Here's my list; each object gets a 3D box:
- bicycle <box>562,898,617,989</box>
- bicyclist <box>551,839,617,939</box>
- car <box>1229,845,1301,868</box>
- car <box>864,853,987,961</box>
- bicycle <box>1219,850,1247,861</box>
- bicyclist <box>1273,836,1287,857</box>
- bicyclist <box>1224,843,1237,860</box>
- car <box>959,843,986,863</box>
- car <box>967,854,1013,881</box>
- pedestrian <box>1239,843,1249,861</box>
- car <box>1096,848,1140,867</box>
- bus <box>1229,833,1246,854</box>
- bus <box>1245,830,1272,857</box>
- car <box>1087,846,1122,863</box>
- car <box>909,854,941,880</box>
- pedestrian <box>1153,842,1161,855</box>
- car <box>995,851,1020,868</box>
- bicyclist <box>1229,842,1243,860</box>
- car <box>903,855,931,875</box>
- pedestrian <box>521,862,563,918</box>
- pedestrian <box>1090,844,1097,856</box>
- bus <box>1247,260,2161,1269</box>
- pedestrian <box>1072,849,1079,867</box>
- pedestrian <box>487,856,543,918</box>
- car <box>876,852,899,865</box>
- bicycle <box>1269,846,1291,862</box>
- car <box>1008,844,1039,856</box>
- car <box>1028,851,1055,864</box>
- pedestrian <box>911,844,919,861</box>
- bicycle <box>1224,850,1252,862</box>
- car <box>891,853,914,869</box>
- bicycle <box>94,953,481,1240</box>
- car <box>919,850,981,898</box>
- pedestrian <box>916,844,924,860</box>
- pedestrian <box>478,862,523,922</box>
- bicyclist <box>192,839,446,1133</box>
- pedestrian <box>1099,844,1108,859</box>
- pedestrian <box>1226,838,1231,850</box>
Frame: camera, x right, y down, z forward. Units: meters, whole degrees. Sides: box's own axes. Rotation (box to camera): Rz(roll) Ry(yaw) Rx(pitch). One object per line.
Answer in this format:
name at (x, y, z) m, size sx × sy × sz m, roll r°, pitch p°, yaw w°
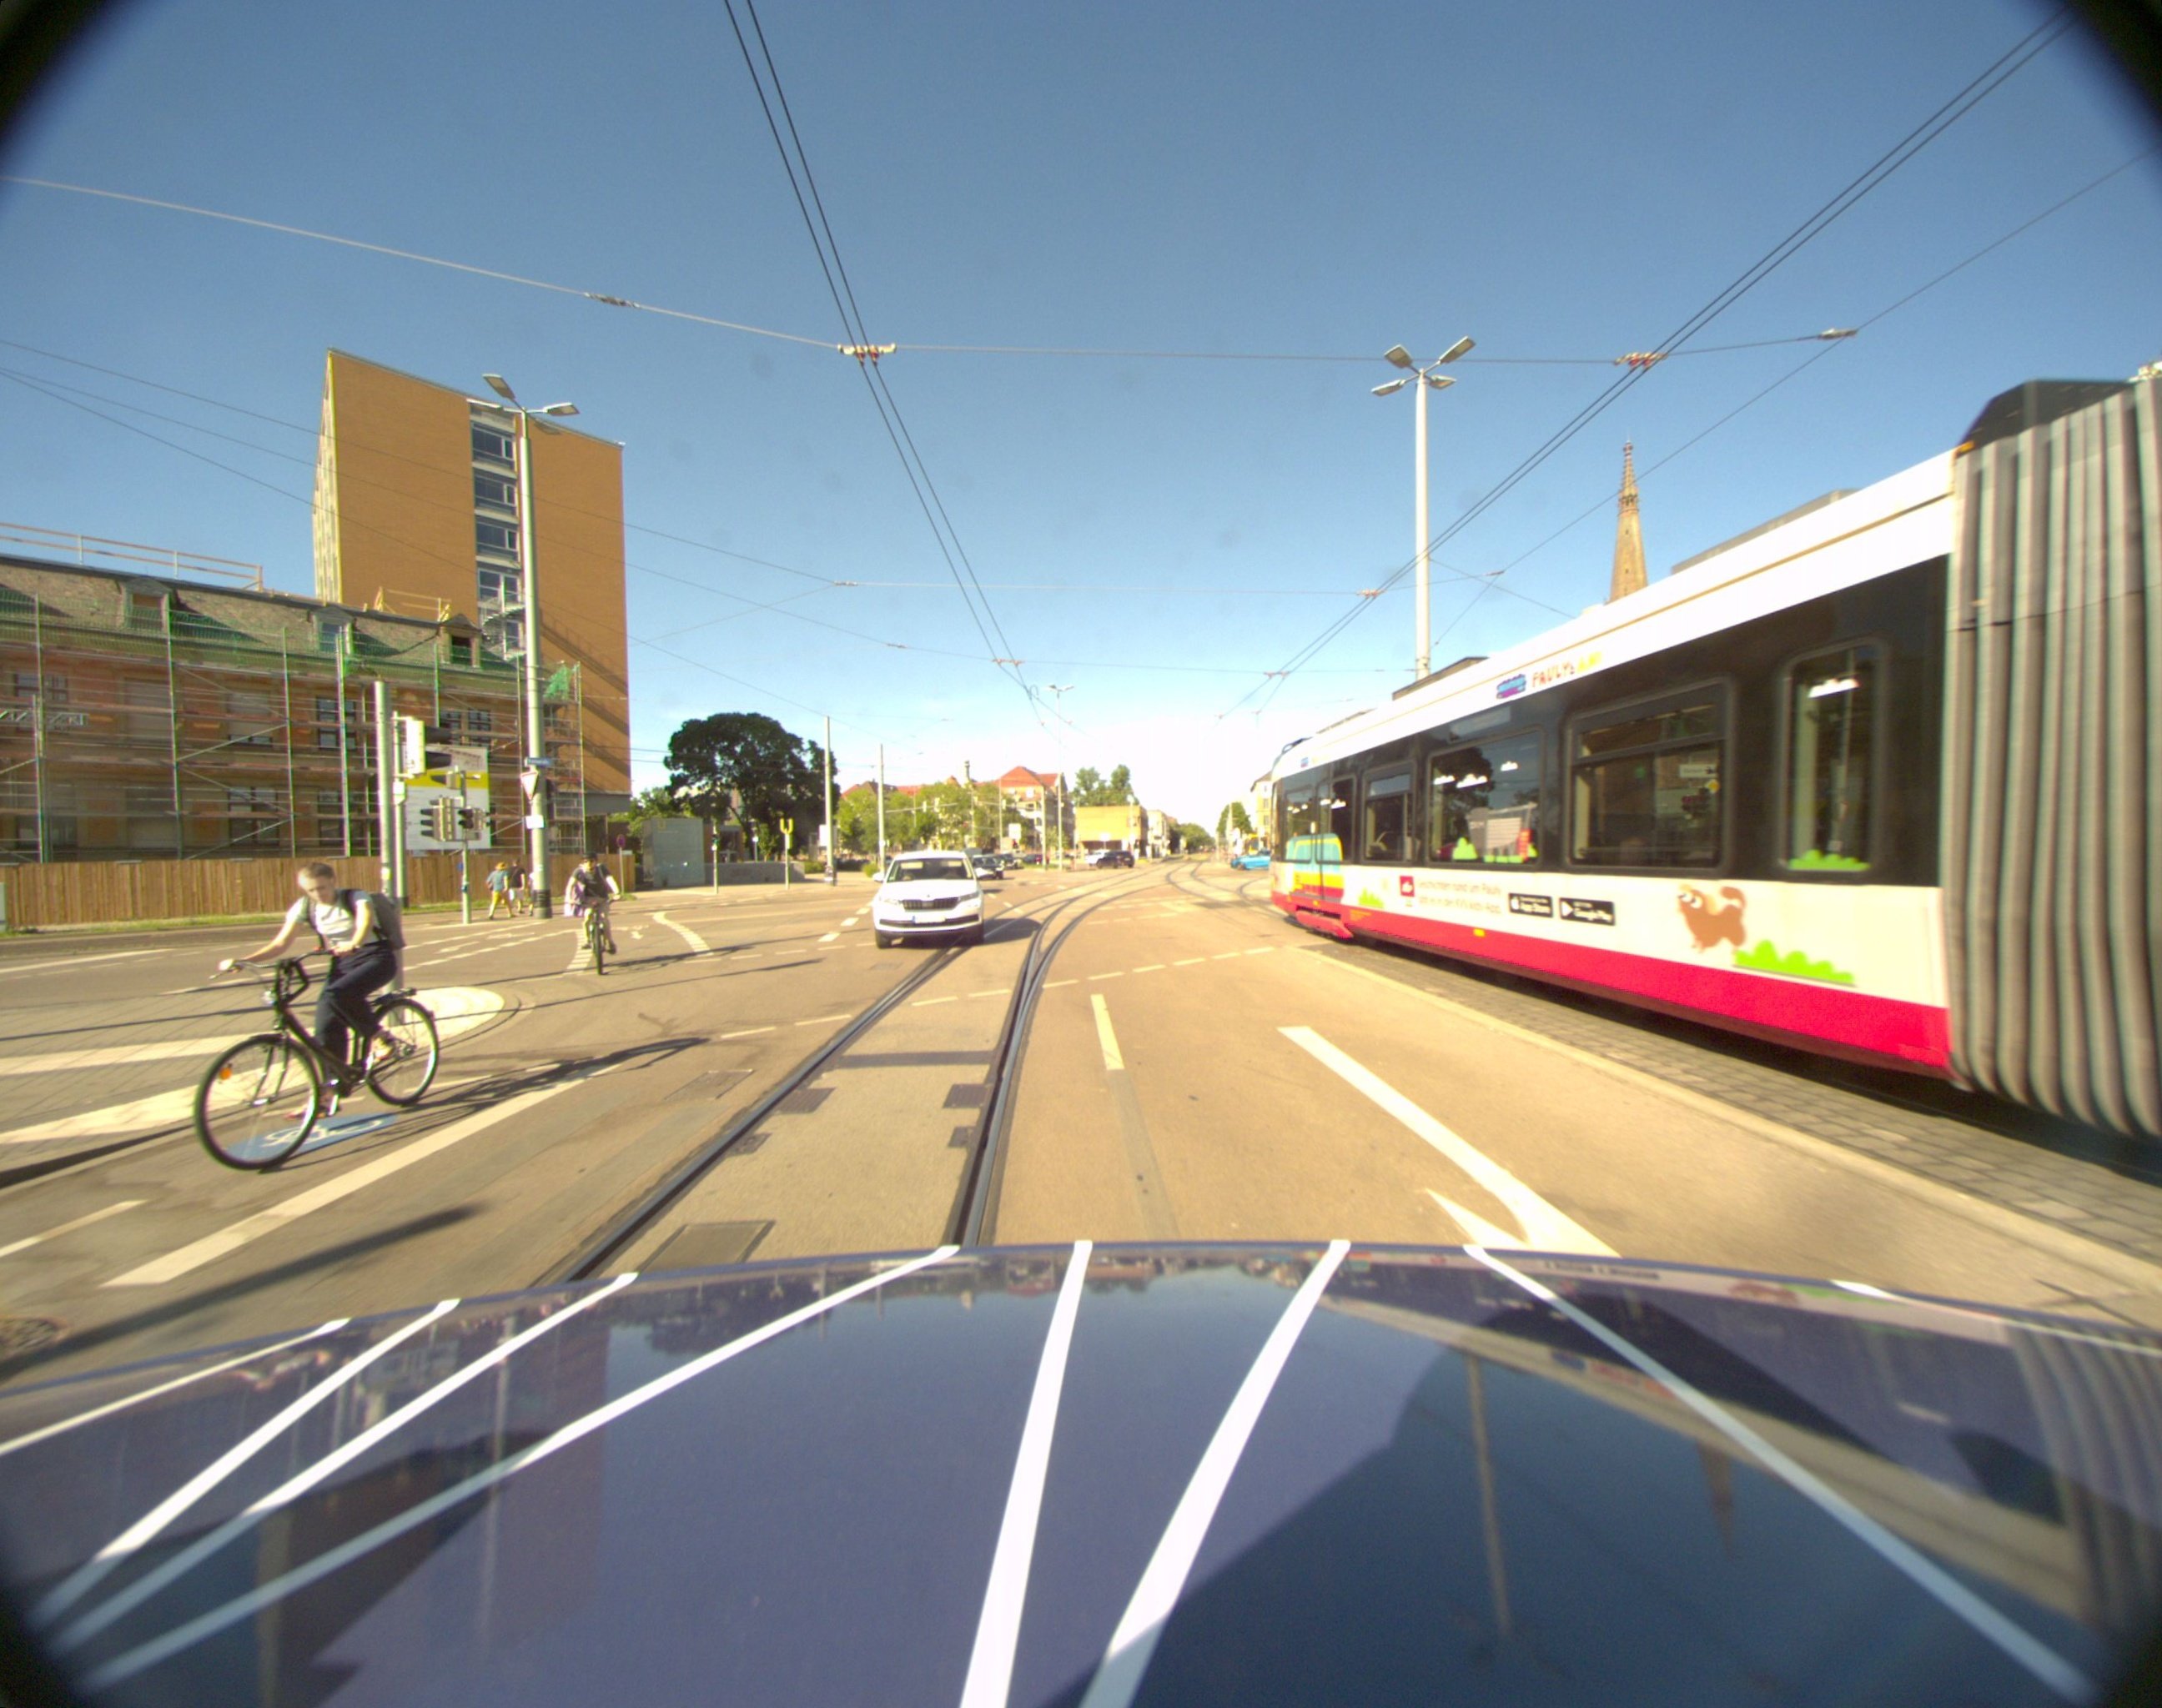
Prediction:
bicycle at (-7.449, 1.308, 11.566) m, size 0.534 × 1.152 × 1.861 m, roll -3°, pitch 2°, yaw -29°
bicyclist at (-7.531, 0.500, 11.562) m, size 0.677 × 1.413 × 1.034 m, roll -4°, pitch 2°, yaw -29°
car at (12.816, 0.165, 53.014) m, size 4.588 × 1.450 × 1.916 m, roll -1°, pitch 1°, yaw 25°
car at (-2.840, 0.841, 14.423) m, size 1.870 × 1.635 × 4.393 m, roll -3°, pitch 1°, yaw -9°
bicycle at (13.948, 0.144, 69.748) m, size 2.478 × 0.984 × 0.615 m, roll -2°, pitch 1°, yaw -18°
bicyclist at (16.181, -0.604, 61.785) m, size 0.796 × 1.666 × 0.758 m, roll -2°, pitch 1°, yaw -37°
bicyclist at (13.688, -0.246, 69.673) m, size 0.957 × 1.520 × 0.576 m, roll -4°, pitch 2°, yaw -18°
car at (-15.780, -0.107, 110.478) m, size 2.246 × 2.666 × 5.295 m, roll -4°, pitch 2°, yaw -25°
car at (-5.553, 0.765, 45.940) m, size 1.923 × 1.450 × 3.859 m, roll -4°, pitch 1°, yaw -19°
pedestrian at (15.328, -0.197, 71.503) m, size 0.715 × 1.599 × 0.607 m, roll -4°, pitch 2°, yaw -15°
car at (3.257, 0.250, 67.684) m, size 2.047 × 1.568 × 4.620 m, roll -2°, pitch 2°, yaw -25°
bus at (23.953, -1.570, 115.977) m, size 2.137 × 3.028 × 8.566 m, roll -3°, pitch 0°, yaw 13°
bus at (24.396, -1.598, 104.940) m, size 2.846 × 3.104 × 11.822 m, roll -3°, pitch 3°, yaw 10°
car at (2.393, 0.078, 77.925) m, size 2.005 × 1.631 × 4.557 m, roll -2°, pitch 1°, yaw -19°
car at (-10.793, 0.853, 52.769) m, size 1.887 × 1.621 × 4.008 m, roll -3°, pitch 1°, yaw -9°
pedestrian at (11.148, -0.793, 111.738) m, size 0.857 × 1.870 × 0.693 m, roll -3°, pitch 2°, yaw 19°
car at (-7.051, 0.495, 72.859) m, size 1.688 × 1.523 × 3.909 m, roll -4°, pitch 1°, yaw -14°
bicyclist at (14.006, -0.283, 68.684) m, size 0.997 × 1.540 × 0.595 m, roll -3°, pitch 2°, yaw -17°
car at (-14.713, 0.966, 67.944) m, size 1.889 × 1.557 × 4.006 m, roll -4°, pitch 1°, yaw -18°
pedestrian at (-17.127, 1.131, 24.171) m, size 0.661 × 1.667 × 0.823 m, roll -3°, pitch 2°, yaw -5°
pedestrian at (1.802, -0.534, 107.613) m, size 0.643 × 1.702 × 0.703 m, roll -2°, pitch 2°, yaw 25°
bus at (5.074, -0.400, 8.894) m, size 2.848 × 3.569 × 13.491 m, roll -2°, pitch 1°, yaw -2°
pedestrian at (-0.483, 0.306, 66.559) m, size 0.372 × 1.547 × 0.644 m, roll -3°, pitch 2°, yaw -8°
pedestrian at (-18.516, 1.050, 24.875) m, size 0.933 × 1.919 × 1.048 m, roll -3°, pitch 2°, yaw -5°
car at (-23.732, 0.495, 93.117) m, size 1.924 × 1.450 × 4.659 m, roll -4°, pitch 1°, yaw -23°
bicycle at (16.220, 0.005, 61.819) m, size 1.968 × 1.249 × 0.614 m, roll -2°, pitch 1°, yaw -37°
car at (-10.795, -0.743, 142.002) m, size 5.246 × 1.793 × 2.403 m, roll -4°, pitch 2°, yaw -41°
car at (-4.538, 0.414, 87.272) m, size 1.853 × 1.408 × 4.473 m, roll -2°, pitch 1°, yaw -20°
pedestrian at (-25.267, -0.226, 115.522) m, size 0.876 × 2.421 × 0.888 m, roll -4°, pitch 2°, yaw -22°
bicycle at (14.245, 0.186, 68.771) m, size 2.478 × 0.984 × 0.615 m, roll -2°, pitch 1°, yaw -18°
car at (-18.719, 0.720, 79.549) m, size 1.889 × 1.557 × 4.006 m, roll -4°, pitch 1°, yaw -18°
bicycle at (-4.568, 1.284, 4.618) m, size 0.533 × 1.111 × 1.932 m, roll -3°, pitch 0°, yaw -10°
car at (-5.146, 0.727, 29.537) m, size 1.888 × 1.621 × 4.006 m, roll -4°, pitch 1°, yaw -16°
pedestrian at (-24.219, -0.285, 114.429) m, size 0.876 × 2.407 × 0.888 m, roll -4°, pitch 2°, yaw -22°
pedestrian at (-17.818, 1.147, 23.334) m, size 0.661 × 1.747 × 0.823 m, roll -3°, pitch 2°, yaw -5°
bicyclist at (-4.621, 0.726, 4.696) m, size 0.552 × 1.604 × 0.952 m, roll -3°, pitch 2°, yaw -8°
pedestrian at (2.922, -0.300, 98.960) m, size 0.857 × 1.819 × 0.702 m, roll -3°, pitch 2°, yaw 19°
pedestrian at (22.774, -1.495, 117.330) m, size 0.690 × 1.851 × 0.730 m, roll -3°, pitch 2°, yaw 15°
